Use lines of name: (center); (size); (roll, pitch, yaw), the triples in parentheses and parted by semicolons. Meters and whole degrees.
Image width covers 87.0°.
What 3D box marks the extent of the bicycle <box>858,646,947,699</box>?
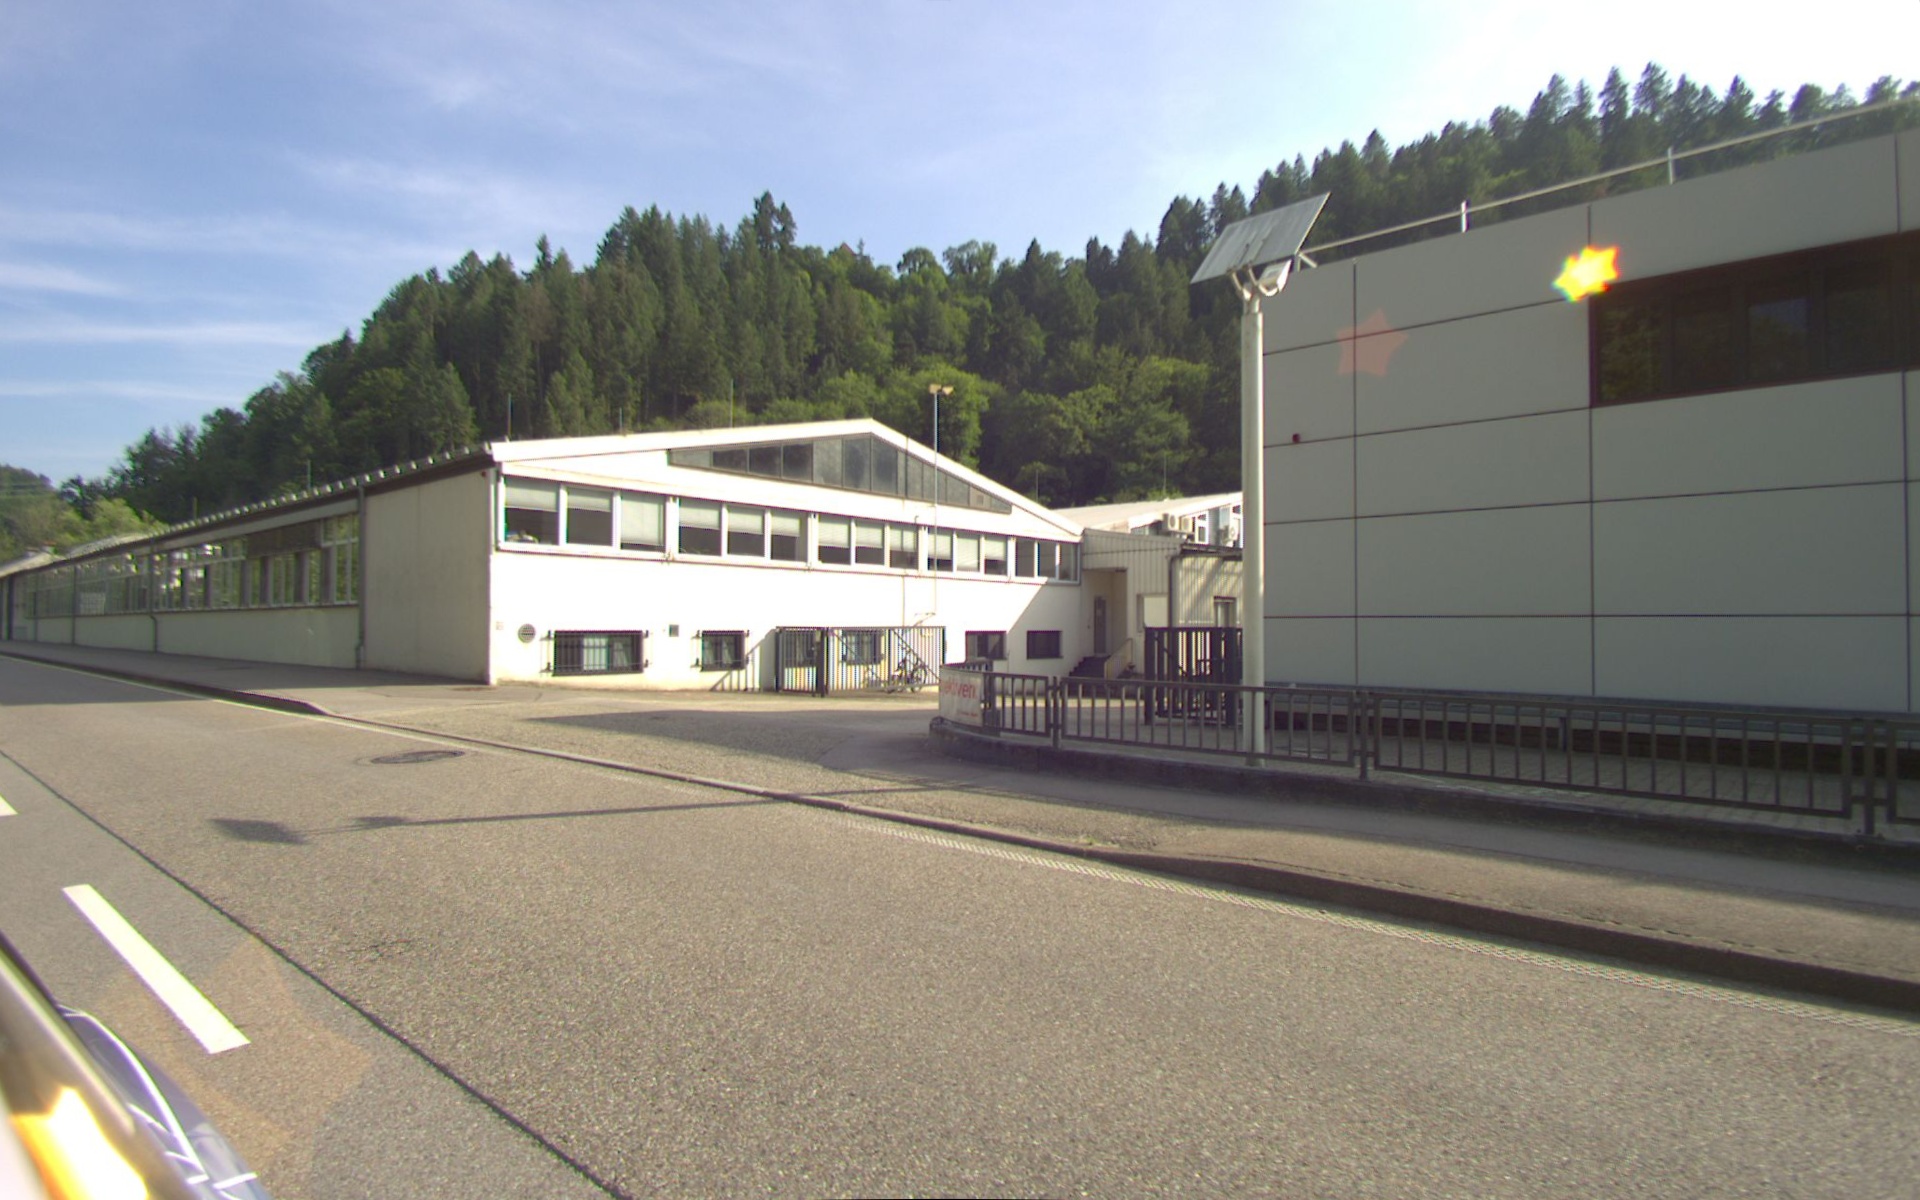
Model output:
bicycle: (-1.442, 1.865, 26.147); (1.039, 1.270, 2.471); (0, -4, 32)

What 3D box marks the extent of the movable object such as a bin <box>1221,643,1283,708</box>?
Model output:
movable object such as a bin: (9.472, 2.421, 32.783); (1.380, 2.029, 1.798); (-1, -4, 38)
